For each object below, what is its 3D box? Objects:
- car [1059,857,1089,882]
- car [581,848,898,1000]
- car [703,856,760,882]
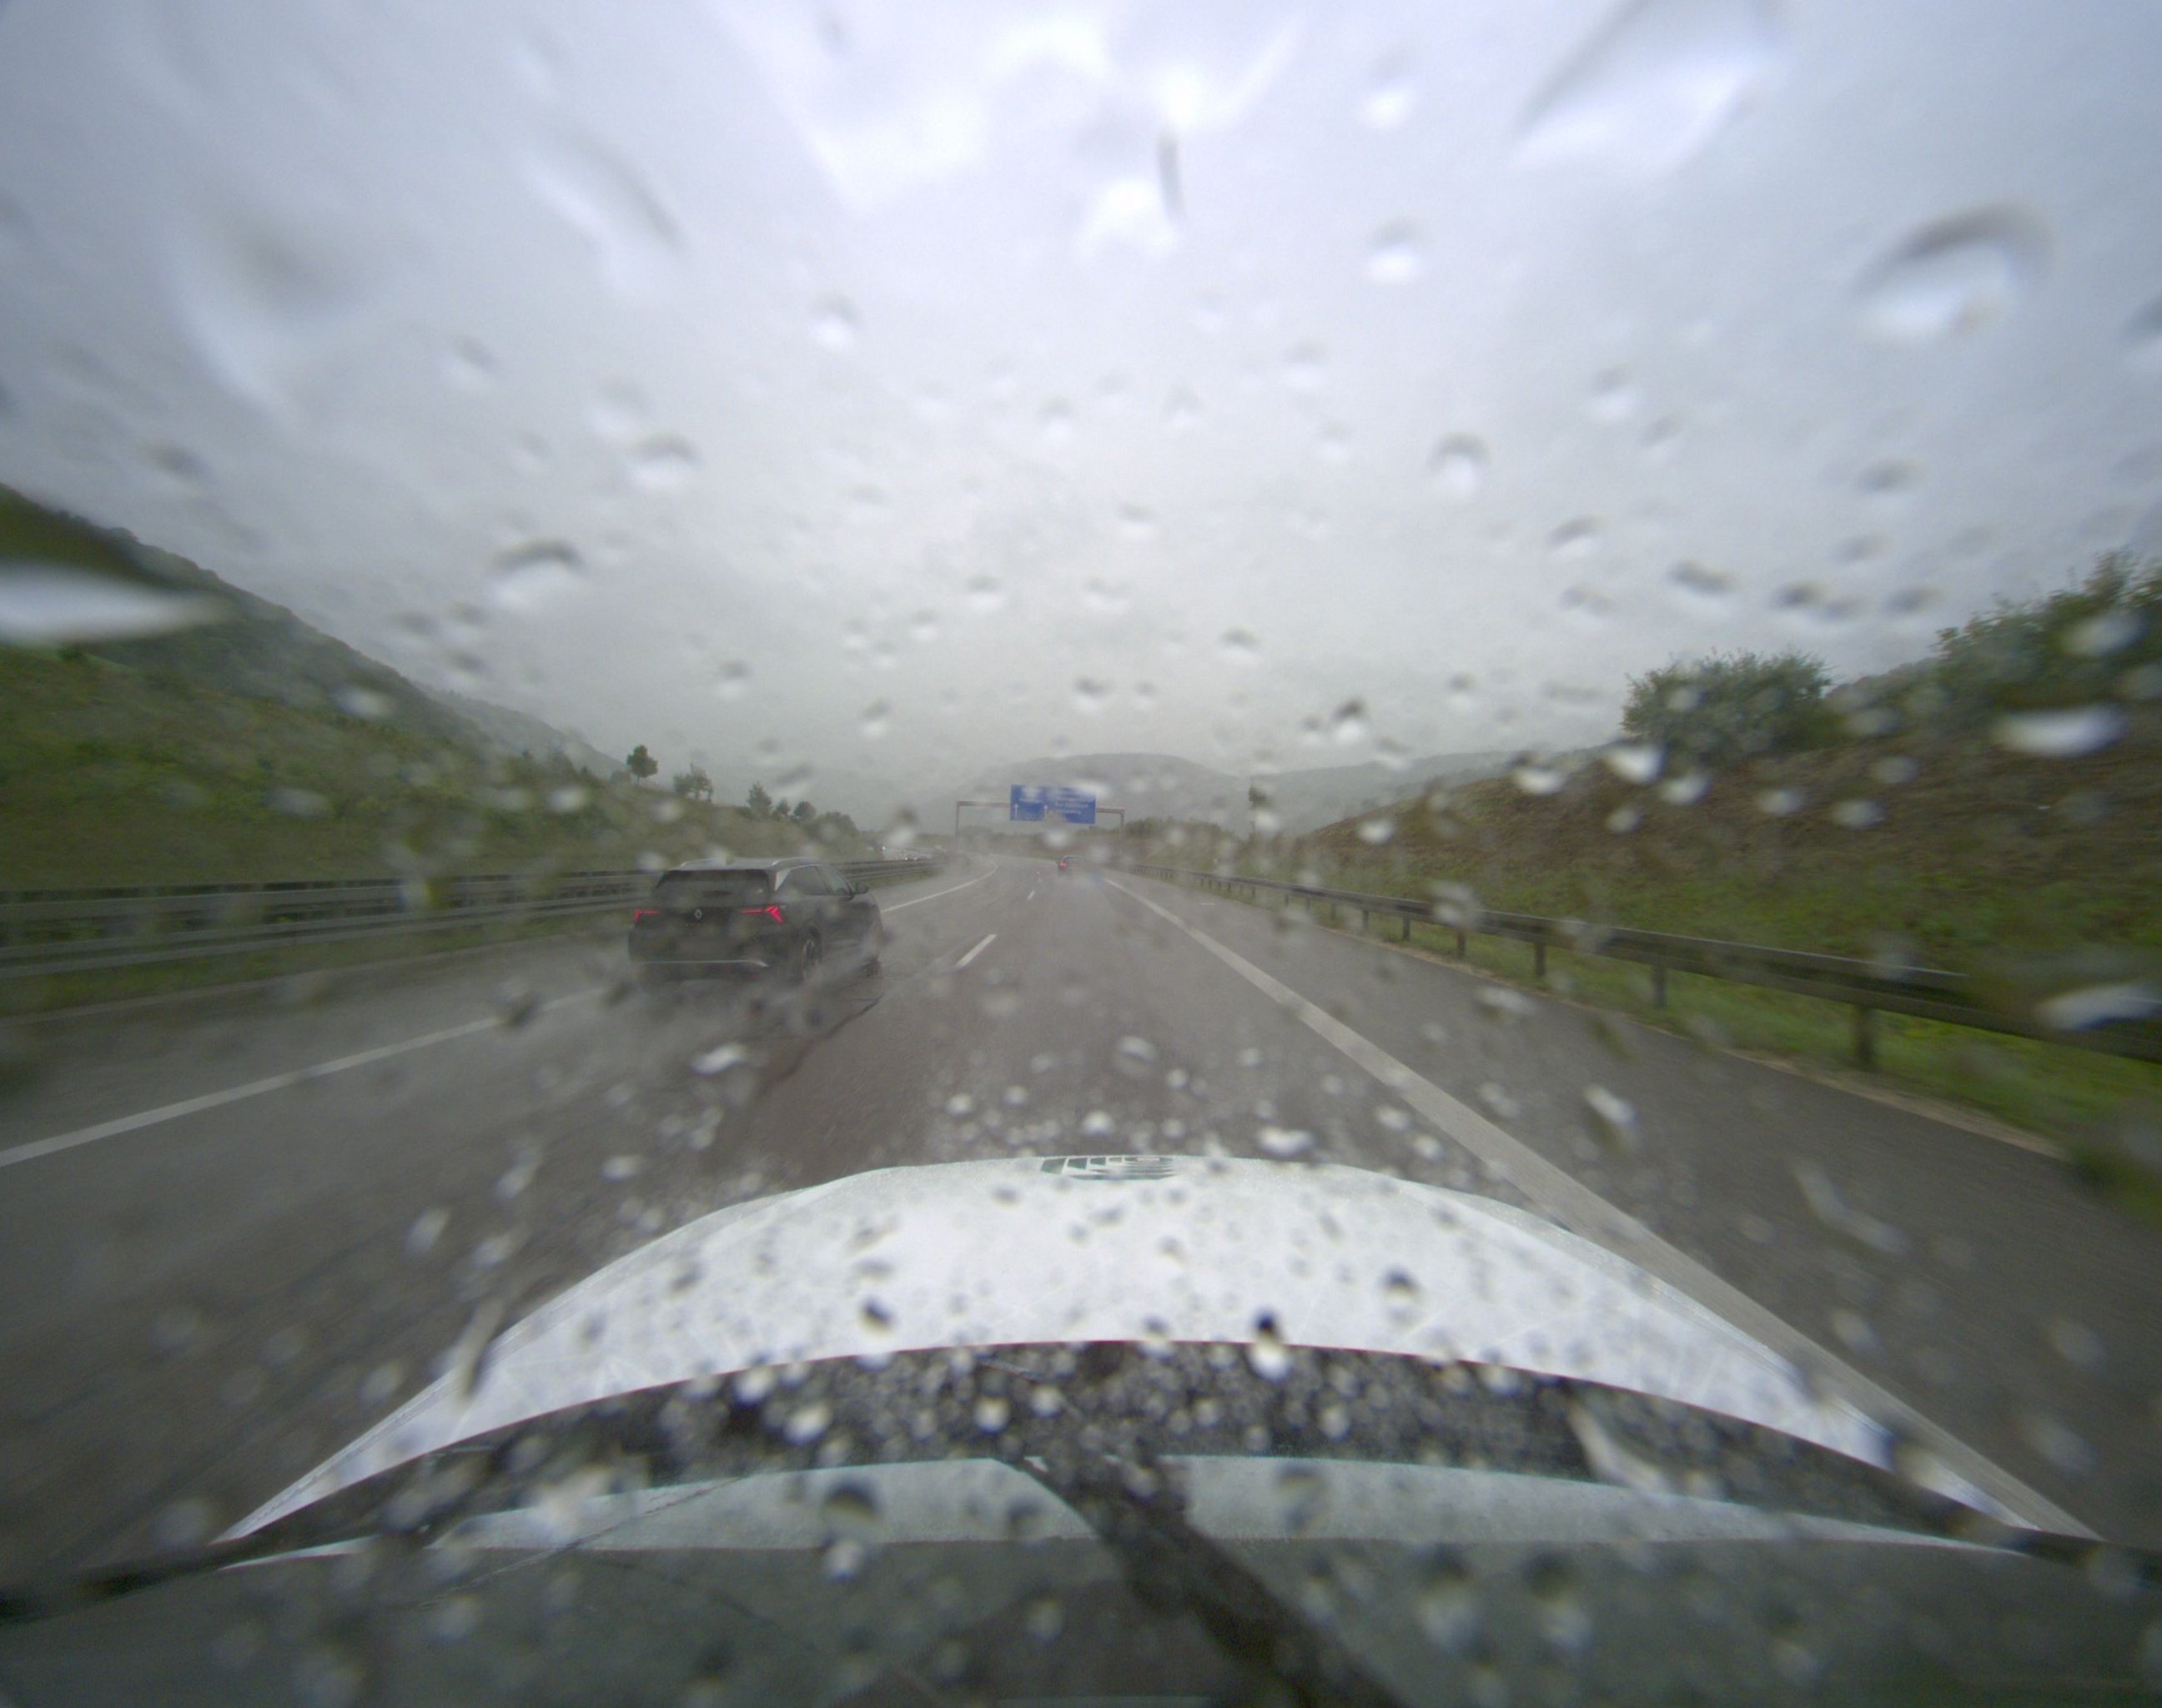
[{"bbox_3d":[-0.492,0.973,51.760,1.676,1.472,3.809,1,0,-4],"label":"car"},{"bbox_3d":[-3.964,0.722,10.613,2.402,1.515,4.775,1,0,-5],"label":"car"},{"bbox_3d":[-20.956,0.872,48.947,1.788,1.420,3.774,0,0,0],"label":"car"}]
